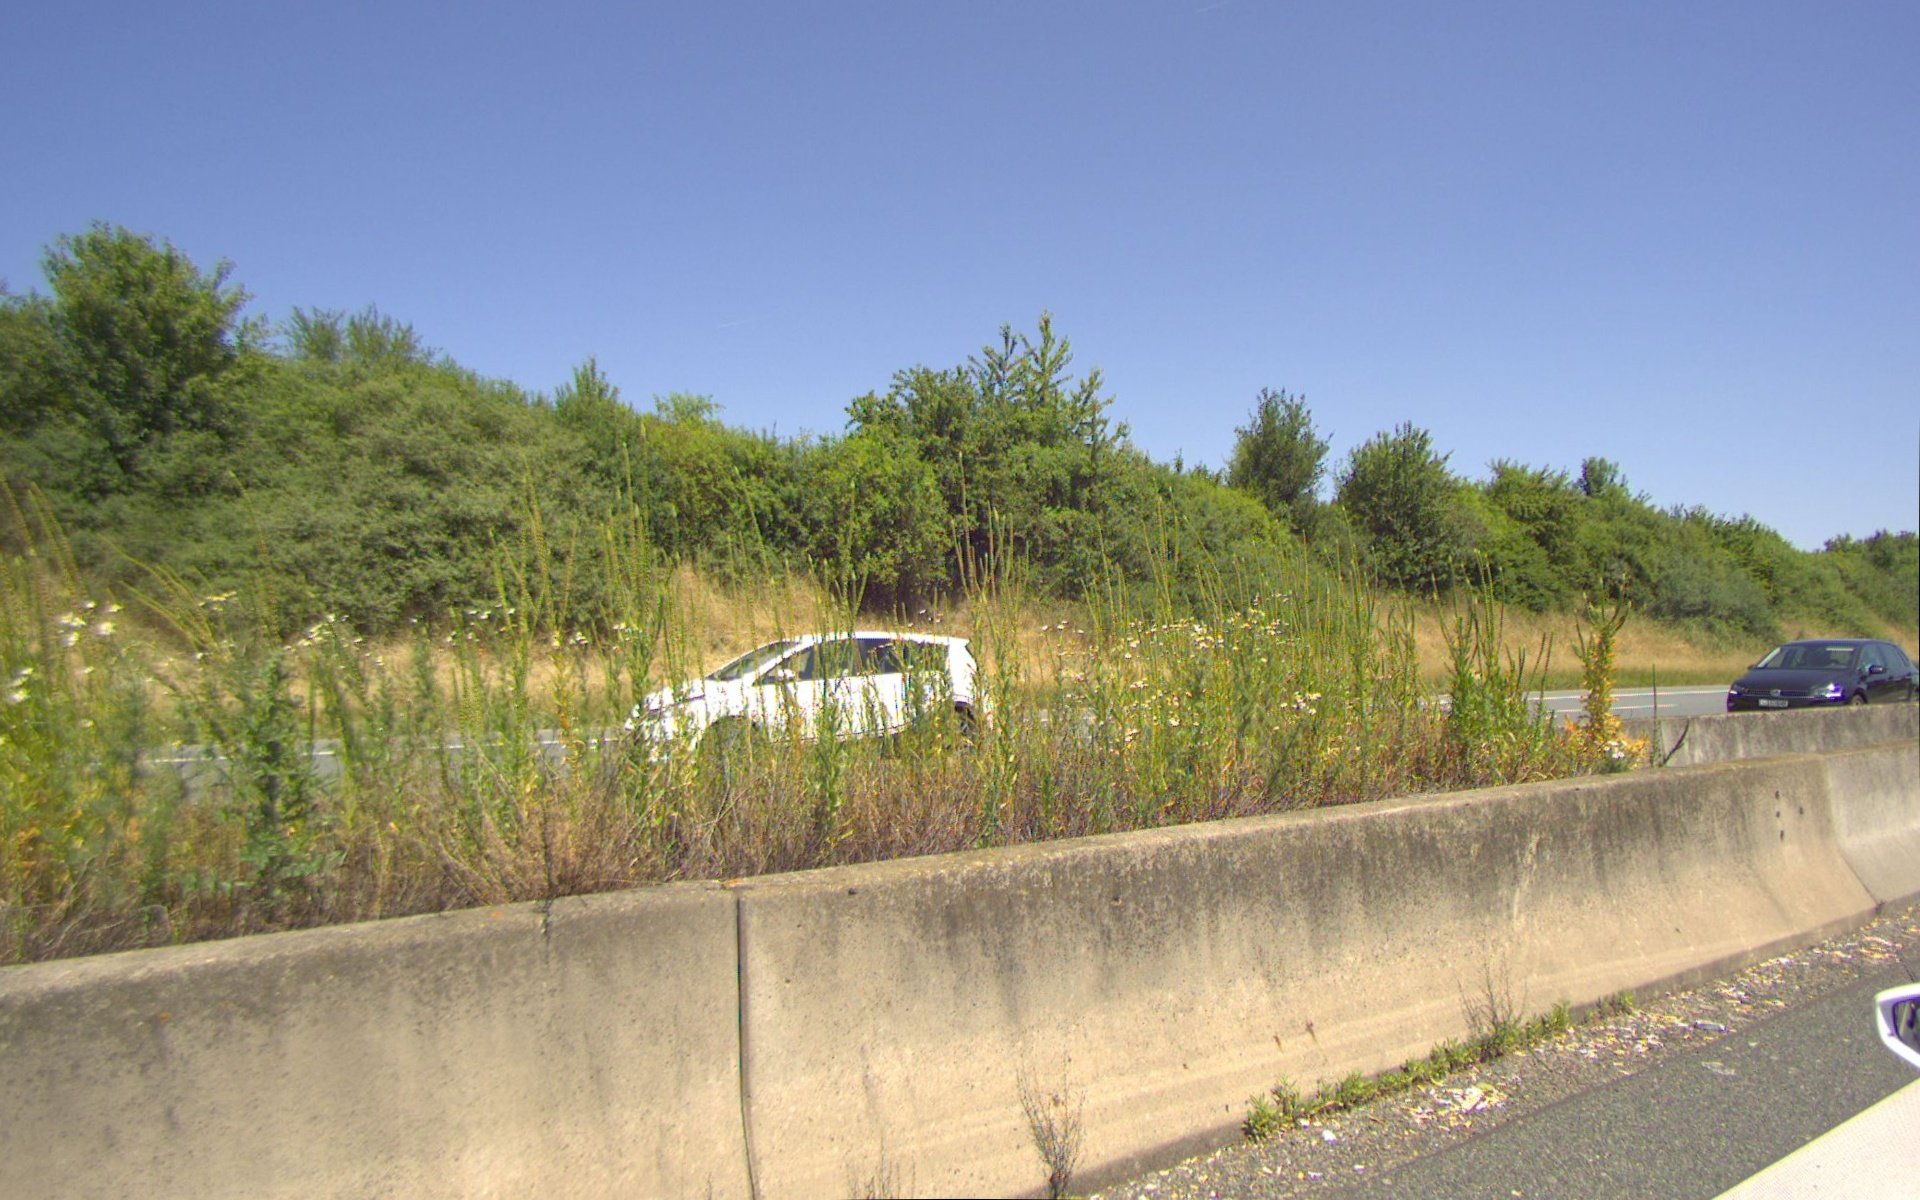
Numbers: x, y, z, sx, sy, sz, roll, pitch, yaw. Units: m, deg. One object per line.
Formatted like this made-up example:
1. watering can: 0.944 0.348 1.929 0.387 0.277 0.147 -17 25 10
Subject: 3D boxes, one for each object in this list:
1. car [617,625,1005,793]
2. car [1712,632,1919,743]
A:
1. car: -1.737 1.167 12.008 4.180 1.684 1.984 1 -2 -30
2. car: 15.512 1.494 18.050 4.123 1.722 1.764 2 0 -31
